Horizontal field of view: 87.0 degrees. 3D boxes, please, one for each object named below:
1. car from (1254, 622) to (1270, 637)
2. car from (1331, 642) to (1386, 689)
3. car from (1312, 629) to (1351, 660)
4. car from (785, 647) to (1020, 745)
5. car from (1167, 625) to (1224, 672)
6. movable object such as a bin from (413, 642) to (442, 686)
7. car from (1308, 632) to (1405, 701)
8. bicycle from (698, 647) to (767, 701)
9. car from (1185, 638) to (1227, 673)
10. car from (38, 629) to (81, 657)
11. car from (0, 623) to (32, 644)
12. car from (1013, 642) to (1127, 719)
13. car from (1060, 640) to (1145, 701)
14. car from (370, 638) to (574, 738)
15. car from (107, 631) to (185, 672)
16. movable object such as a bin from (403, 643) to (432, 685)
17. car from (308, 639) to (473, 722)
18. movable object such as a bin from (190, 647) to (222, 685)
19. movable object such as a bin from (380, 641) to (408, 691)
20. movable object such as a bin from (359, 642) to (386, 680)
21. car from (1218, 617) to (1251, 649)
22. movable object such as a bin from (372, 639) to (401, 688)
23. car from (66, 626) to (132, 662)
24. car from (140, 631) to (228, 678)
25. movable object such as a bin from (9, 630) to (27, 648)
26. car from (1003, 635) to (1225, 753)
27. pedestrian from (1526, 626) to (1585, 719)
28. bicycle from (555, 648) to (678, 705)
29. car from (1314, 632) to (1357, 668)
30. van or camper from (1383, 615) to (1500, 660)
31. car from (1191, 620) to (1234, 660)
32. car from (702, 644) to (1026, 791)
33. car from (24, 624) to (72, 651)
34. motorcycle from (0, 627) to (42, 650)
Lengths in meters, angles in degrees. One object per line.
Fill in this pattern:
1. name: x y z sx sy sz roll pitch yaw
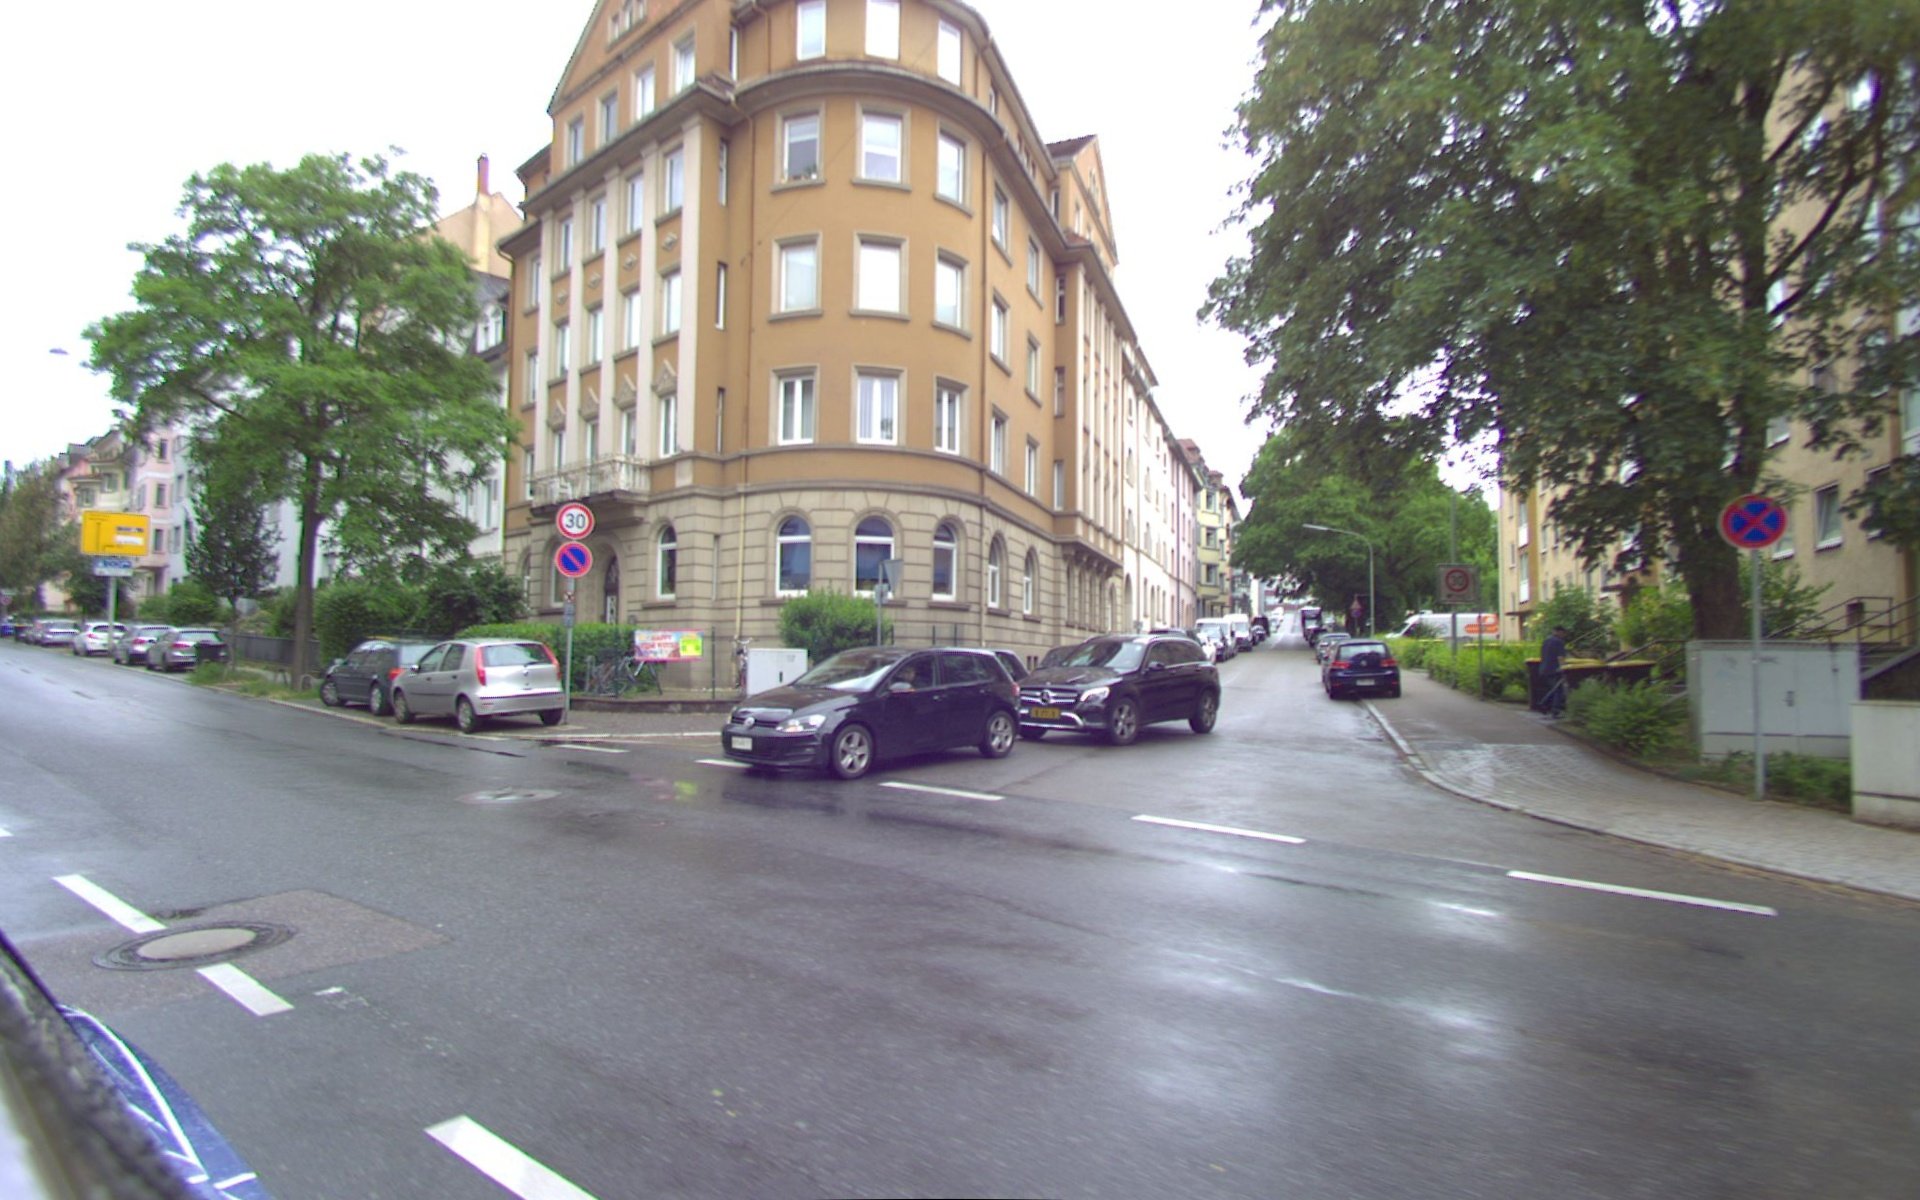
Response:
1. car: 36.926 3.596 123.611 1.765 1.635 3.815 0 0 19
2. car: 12.643 2.052 32.130 1.486 1.230 3.340 -2 0 22
3. car: 20.566 2.417 56.171 1.788 1.519 3.590 0 0 17
4. car: -0.895 1.562 17.212 1.743 1.400 3.772 0 -2 44
5. car: 10.005 1.996 42.838 1.836 1.741 3.972 0 0 21
6. movable object such as a bin: -13.650 1.641 25.933 0.589 1.089 0.435 -1 -4 41
7. car: 10.341 1.689 26.652 1.670 1.519 3.597 -2 0 11
8. bicycle: -4.518 1.464 20.219 0.797 1.019 1.700 0 -3 8
9. car: 12.412 2.763 50.952 1.789 1.519 3.588 0 0 18
10. car: -49.137 2.302 55.193 1.582 1.462 3.890 1 -2 -44
11. car: -68.073 2.394 72.650 4.602 1.396 1.661 0 -2 42
12. car: 2.482 1.667 21.968 1.696 1.431 4.209 0 -2 17
13. car: 3.893 1.842 27.216 1.696 1.451 3.816 0 -2 17
14. car: -8.411 1.418 17.328 3.835 1.465 1.616 -1 -3 39
15. car: -30.096 1.881 37.387 3.909 1.401 1.664 -1 -2 43
16. movable object such as a bin: -14.175 1.670 26.454 0.650 1.049 0.421 -1 -4 41
17. car: -11.610 1.573 20.526 3.940 1.465 1.636 -1 -3 41
18. movable object such as a bin: -22.296 1.952 29.921 0.600 1.066 0.623 0 -3 42
19. movable object such as a bin: -15.314 1.769 27.381 0.609 1.318 0.435 -1 -4 41
20. movable object such as a bin: -16.559 1.704 28.524 0.650 1.047 0.435 -1 -4 41
21. car: 19.151 2.261 70.468 1.984 2.029 3.975 0 0 19
22. movable object such as a bin: -15.784 1.752 27.851 0.650 1.318 0.435 -1 -4 41
23. car: -37.739 1.911 44.337 3.794 1.519 1.629 -1 -3 41
24. car: -25.752 1.767 33.546 3.936 1.401 1.664 -1 -2 43
25. movable object such as a bin: -58.830 2.415 63.188 0.483 1.066 0.816 0 0 43
26. car: 2.534 1.406 16.067 1.693 1.594 3.769 0 -2 41
27. pedestrian: 11.270 1.363 19.166 0.813 1.695 0.623 -3 -1 23
28. bicycle: -6.897 1.519 20.453 0.804 1.054 2.323 -1 -3 33
29. car: 18.385 2.418 49.645 1.788 1.519 3.589 0 0 17
30. van or camper: 30.467 2.342 64.285 6.292 2.653 2.282 0 0 12
31. car: 14.125 2.169 56.399 1.984 2.029 3.975 0 0 19
32. car: -1.034 1.283 12.343 1.742 1.400 3.776 0 -1 41
33. car: -52.701 2.168 58.443 3.886 1.407 1.584 0 -2 42
34. motorcycle: -56.854 2.314 61.206 1.783 1.325 0.743 2 -3 -6
